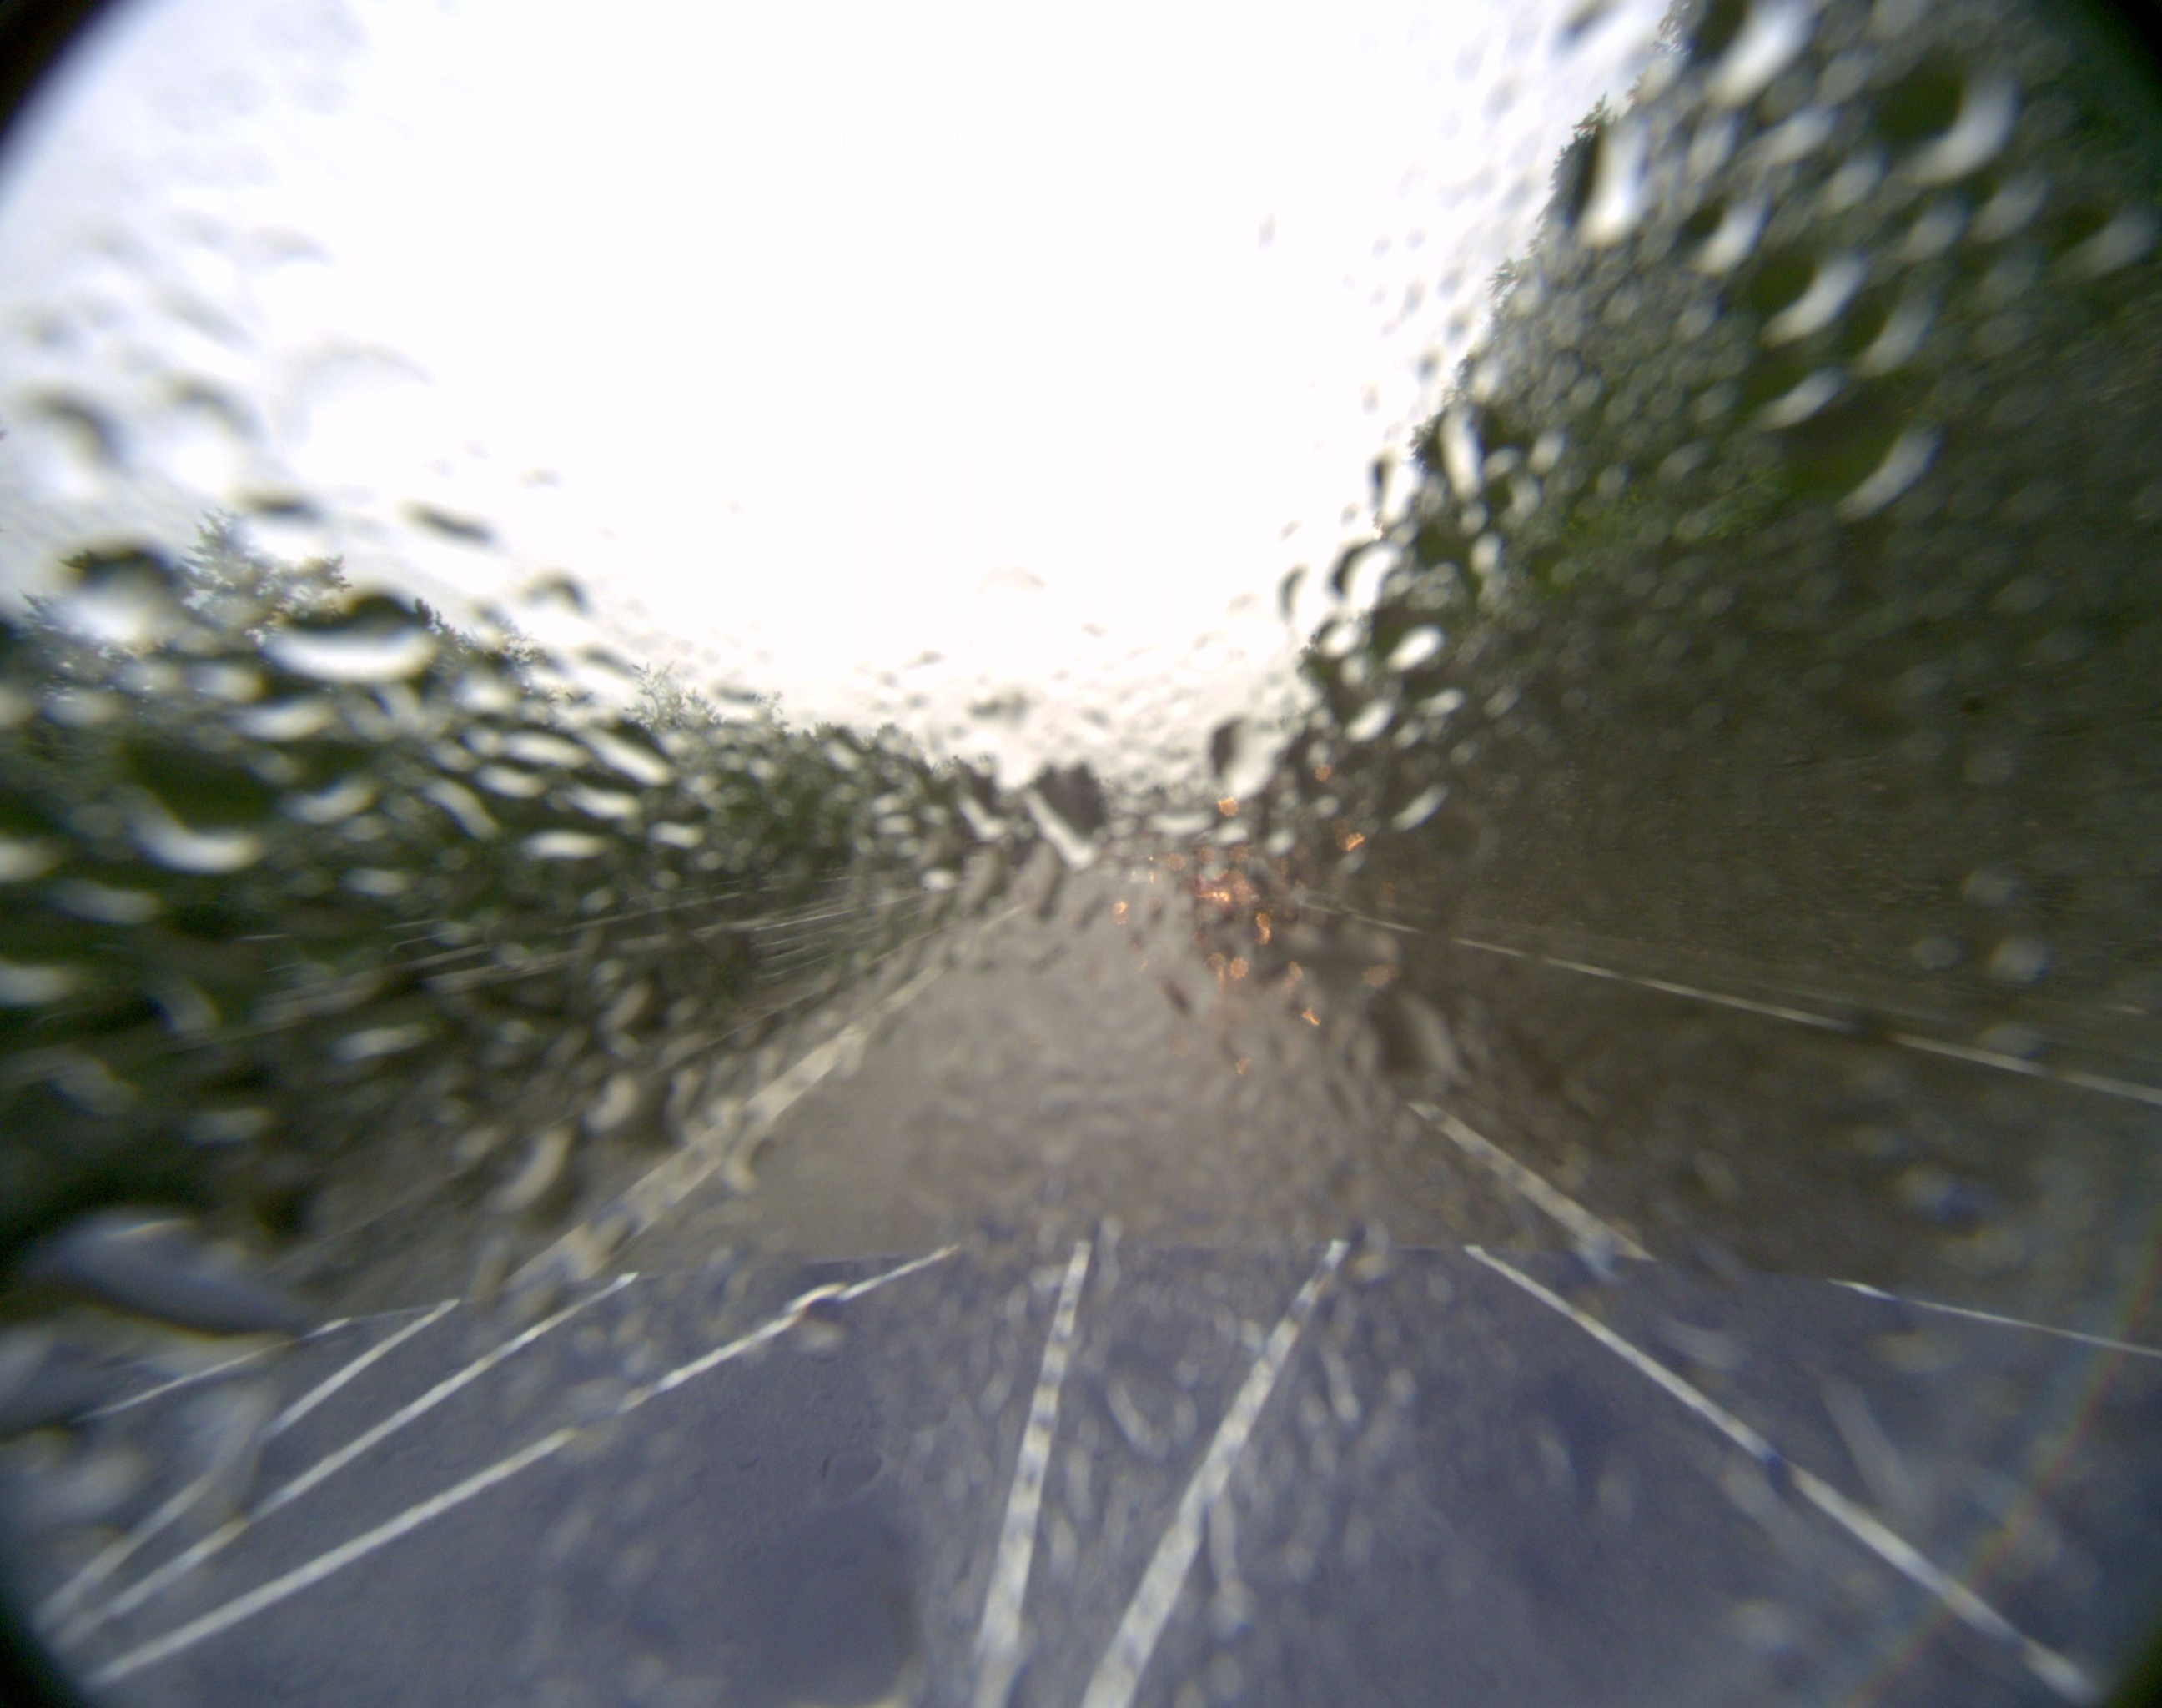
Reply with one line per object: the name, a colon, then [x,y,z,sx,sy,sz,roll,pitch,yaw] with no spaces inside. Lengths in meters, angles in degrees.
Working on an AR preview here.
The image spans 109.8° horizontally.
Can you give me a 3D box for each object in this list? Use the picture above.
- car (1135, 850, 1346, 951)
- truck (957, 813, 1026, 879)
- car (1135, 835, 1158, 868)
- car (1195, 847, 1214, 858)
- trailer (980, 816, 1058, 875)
car: [2.868,0.793,15.338,2.361,1.549,5.495,-2,0,-9]
truck: [-6.055,-0.556,52.574,2.901,4.221,6.884,-1,1,9]
car: [6.296,-0.292,72.731,1.740,3.008,4.003,0,2,12]
car: [15.900,-0.204,97.692,1.739,1.393,4.005,-2,0,19]
trailer: [-4.657,-0.752,61.433,2.897,4.221,14.704,-1,1,9]
